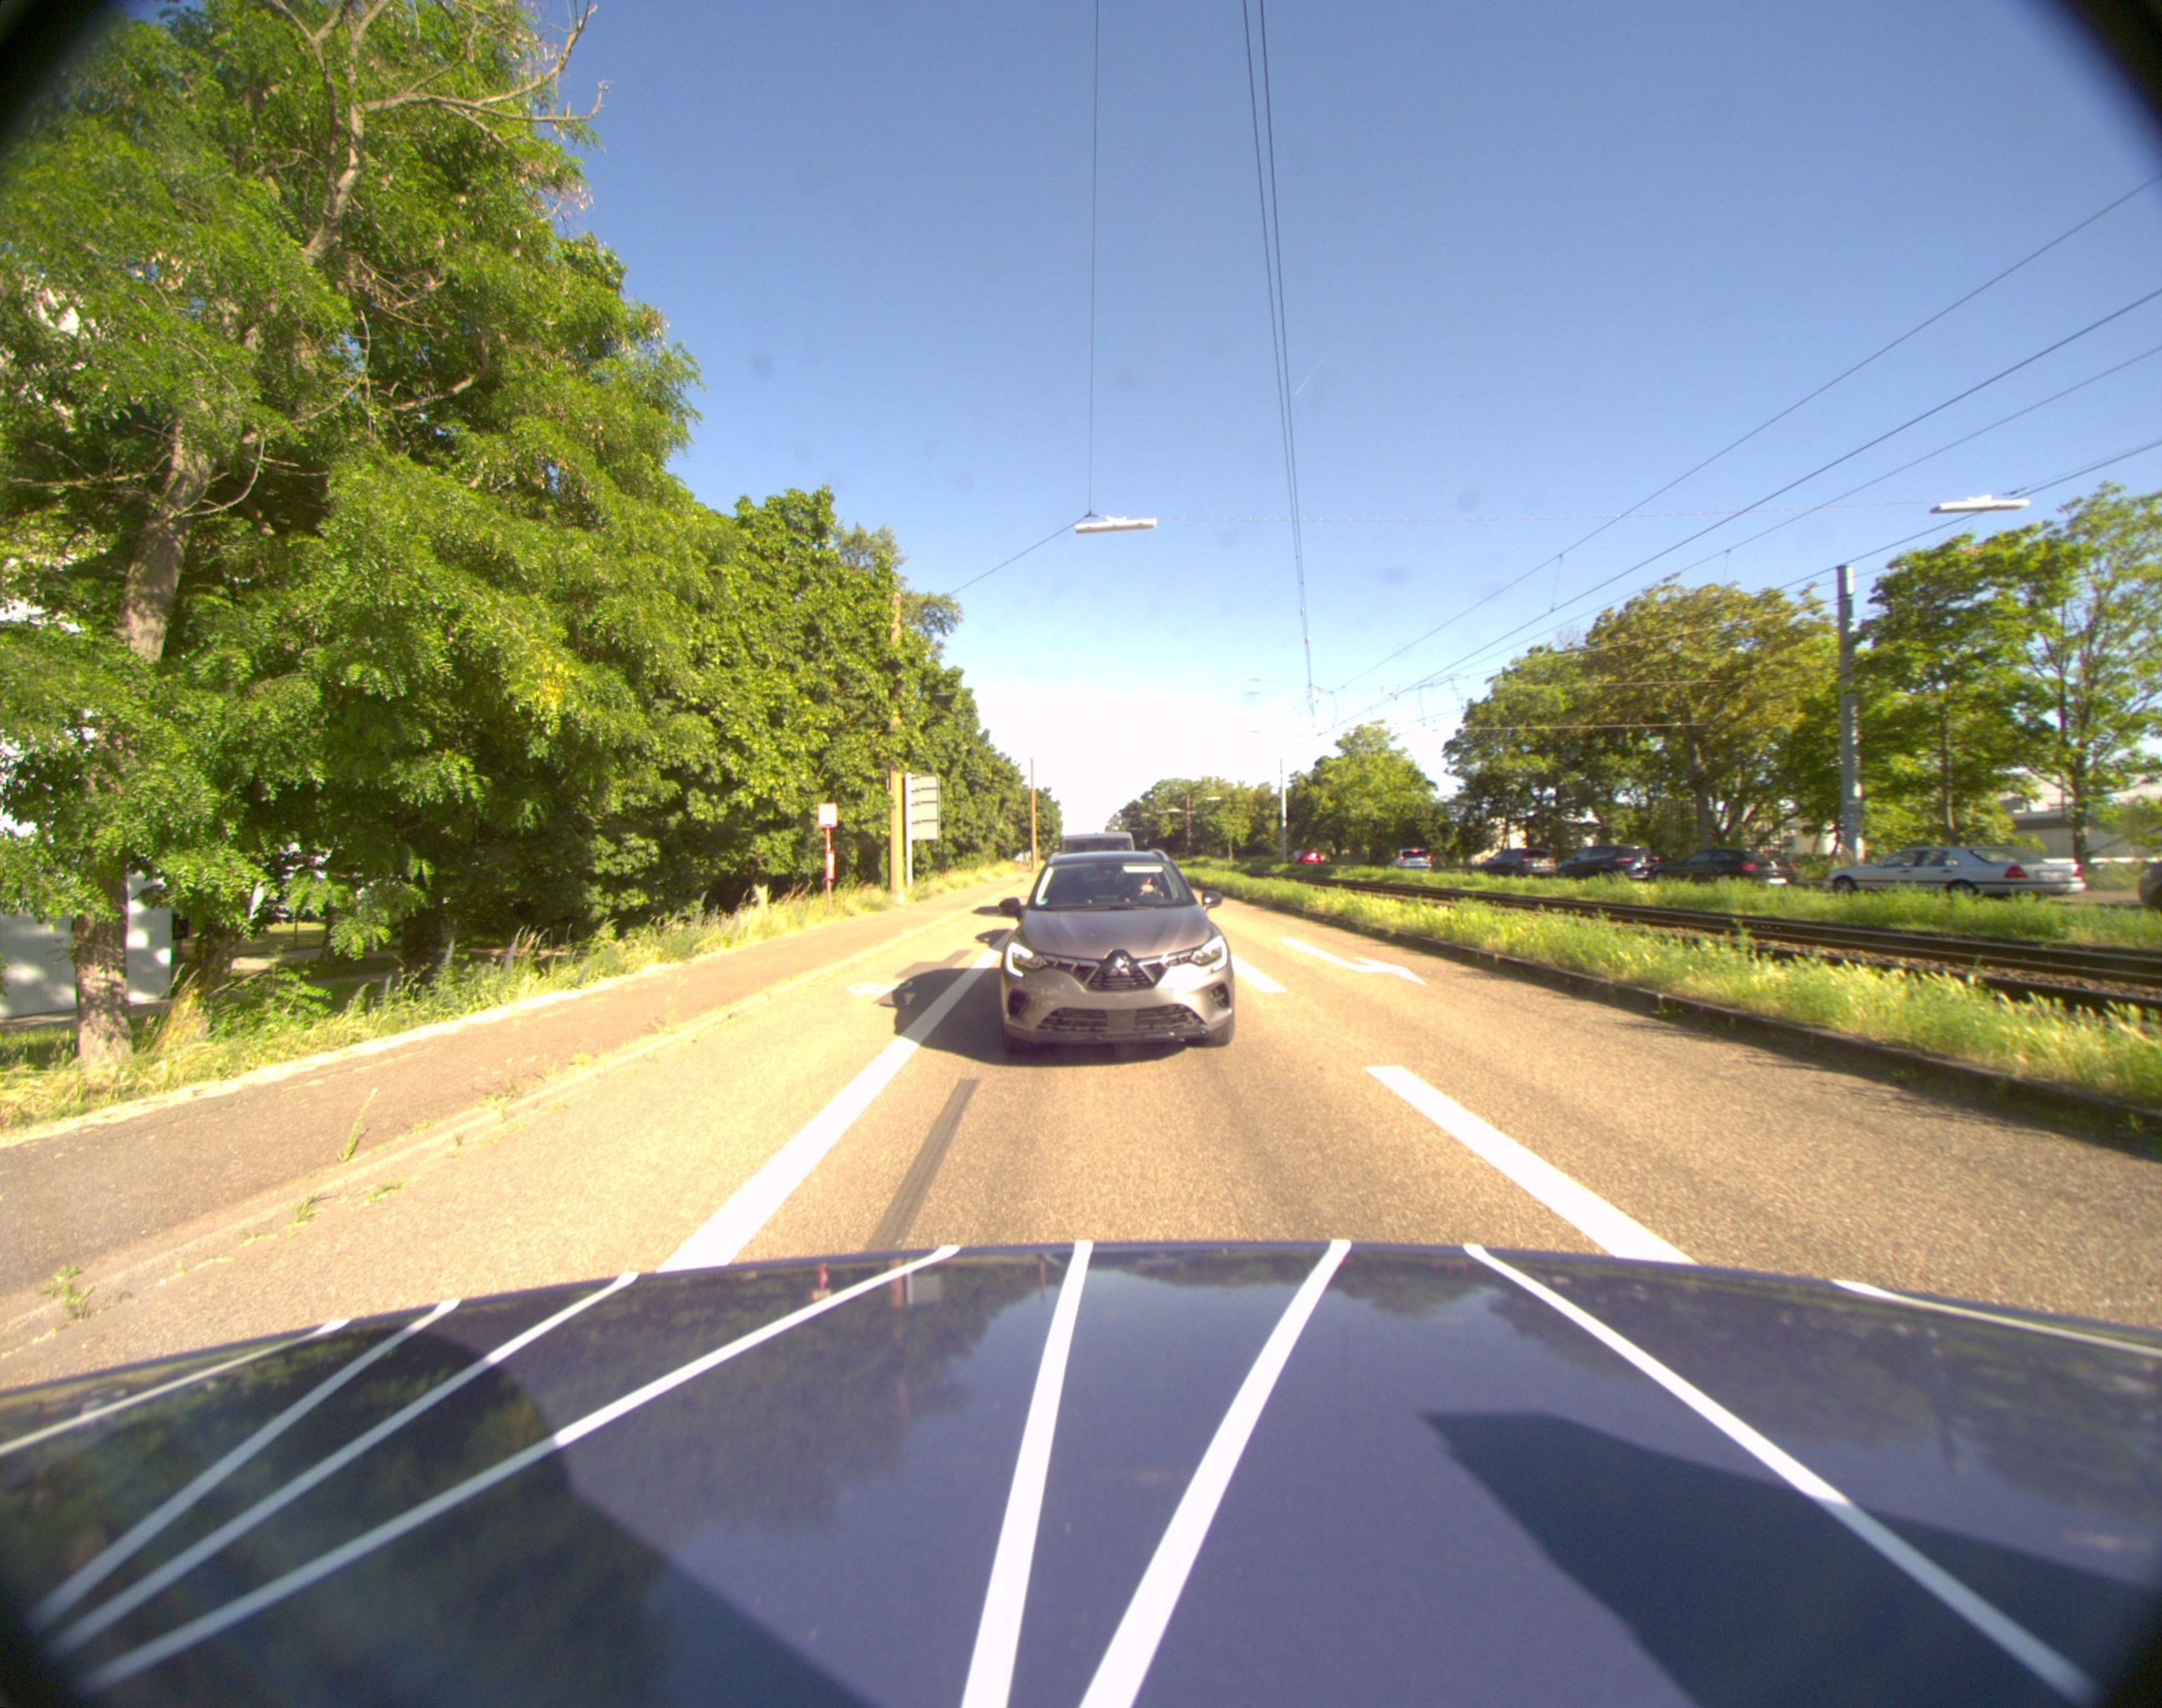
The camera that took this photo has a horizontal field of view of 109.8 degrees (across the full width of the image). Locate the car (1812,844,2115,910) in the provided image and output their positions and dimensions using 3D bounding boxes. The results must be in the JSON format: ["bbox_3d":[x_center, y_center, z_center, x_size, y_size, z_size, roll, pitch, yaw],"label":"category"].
[{"bbox_3d":[21.541,0.511,18.932,2.130,1.372,4.616,-2,0,-1],"label":"car"}]

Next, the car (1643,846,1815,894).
[{"bbox_3d":[21.341,0.495,25.326,1.960,1.417,4.488,-2,0,1],"label":"car"}]

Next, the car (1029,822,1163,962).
[{"bbox_3d":[0.257,0.591,13.724,1.998,2.113,4.000,-2,0,1],"label":"car"}]

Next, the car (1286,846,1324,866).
[{"bbox_3d":[20.997,0.191,71.465,2.321,1.723,4.798,-2,0,3],"label":"car"}]

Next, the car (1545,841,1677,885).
[{"bbox_3d":[21.302,0.348,30.823,2.130,1.578,4.616,-2,0,1],"label":"car"}]

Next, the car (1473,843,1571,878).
[{"bbox_3d":[21.561,0.333,37.406,2.130,1.554,4.560,-2,0,0],"label":"car"}]

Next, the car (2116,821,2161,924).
[{"bbox_3d":[21.230,0.301,12.441,2.207,1.923,4.685,-2,0,2],"label":"car"}]

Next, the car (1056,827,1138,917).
[{"bbox_3d":[0.350,0.478,21.113,1.999,2.198,4.786,-1,-1,-1],"label":"car"}]

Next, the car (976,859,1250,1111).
[{"bbox_3d":[0.176,0.883,7.316,1.796,1.583,4.529,-1,0,-1],"label":"car"}]

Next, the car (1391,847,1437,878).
[{"bbox_3d":[17.989,0.424,41.194,1.857,1.548,4.162,-2,0,18],"label":"car"}]
